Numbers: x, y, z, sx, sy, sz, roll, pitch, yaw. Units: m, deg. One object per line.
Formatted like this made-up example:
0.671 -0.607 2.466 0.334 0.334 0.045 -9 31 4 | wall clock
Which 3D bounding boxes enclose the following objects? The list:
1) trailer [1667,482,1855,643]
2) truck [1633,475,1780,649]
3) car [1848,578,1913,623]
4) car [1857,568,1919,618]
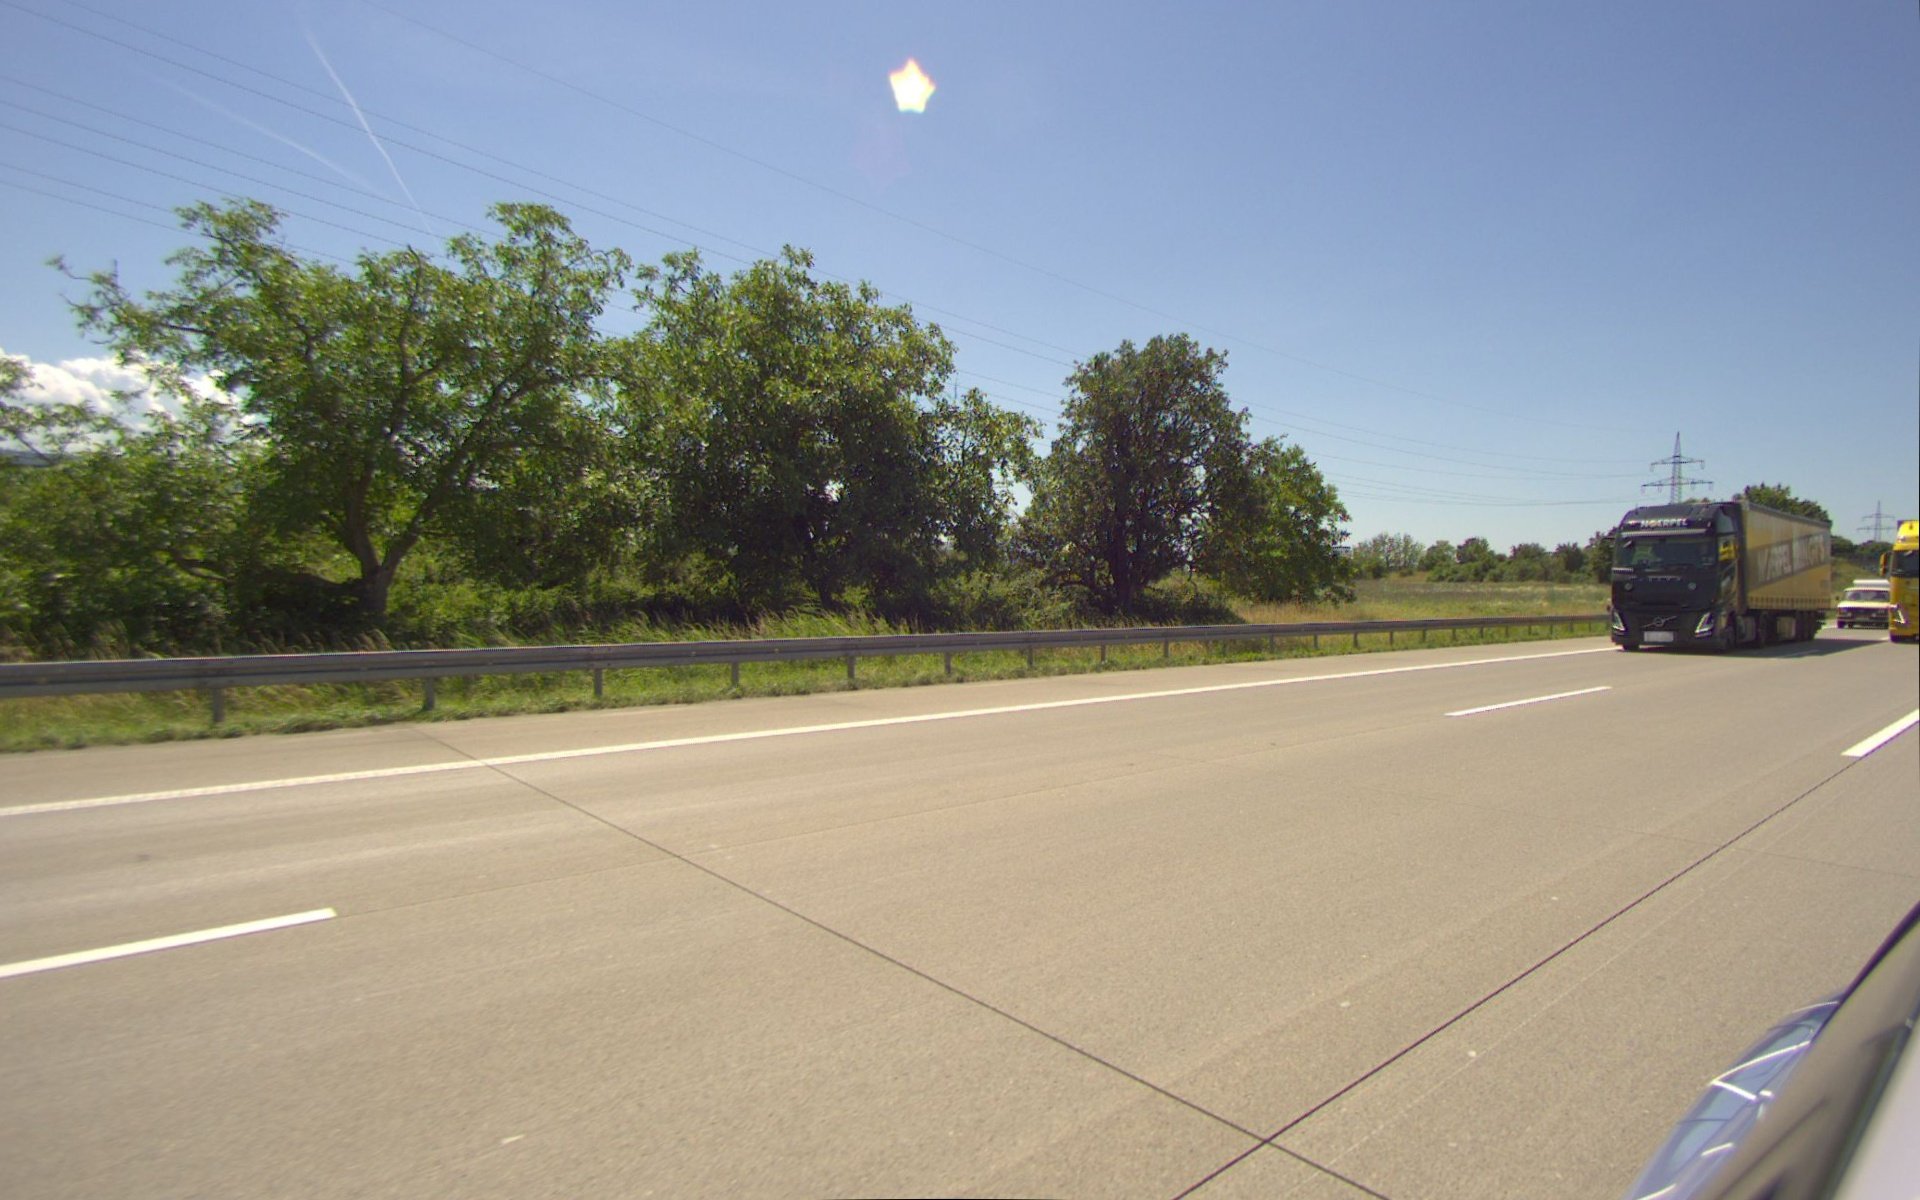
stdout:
25.782 -1.039 32.105 14.488 4.246 1.997 0 0 -41 | trailer
20.212 -0.947 27.286 5.606 4.246 1.997 0 0 -41 | truck
42.972 0.006 47.221 3.752 2.039 1.787 0 0 -41 | car
46.432 -0.348 50.239 5.419 2.377 2.138 0 0 -41 | car
